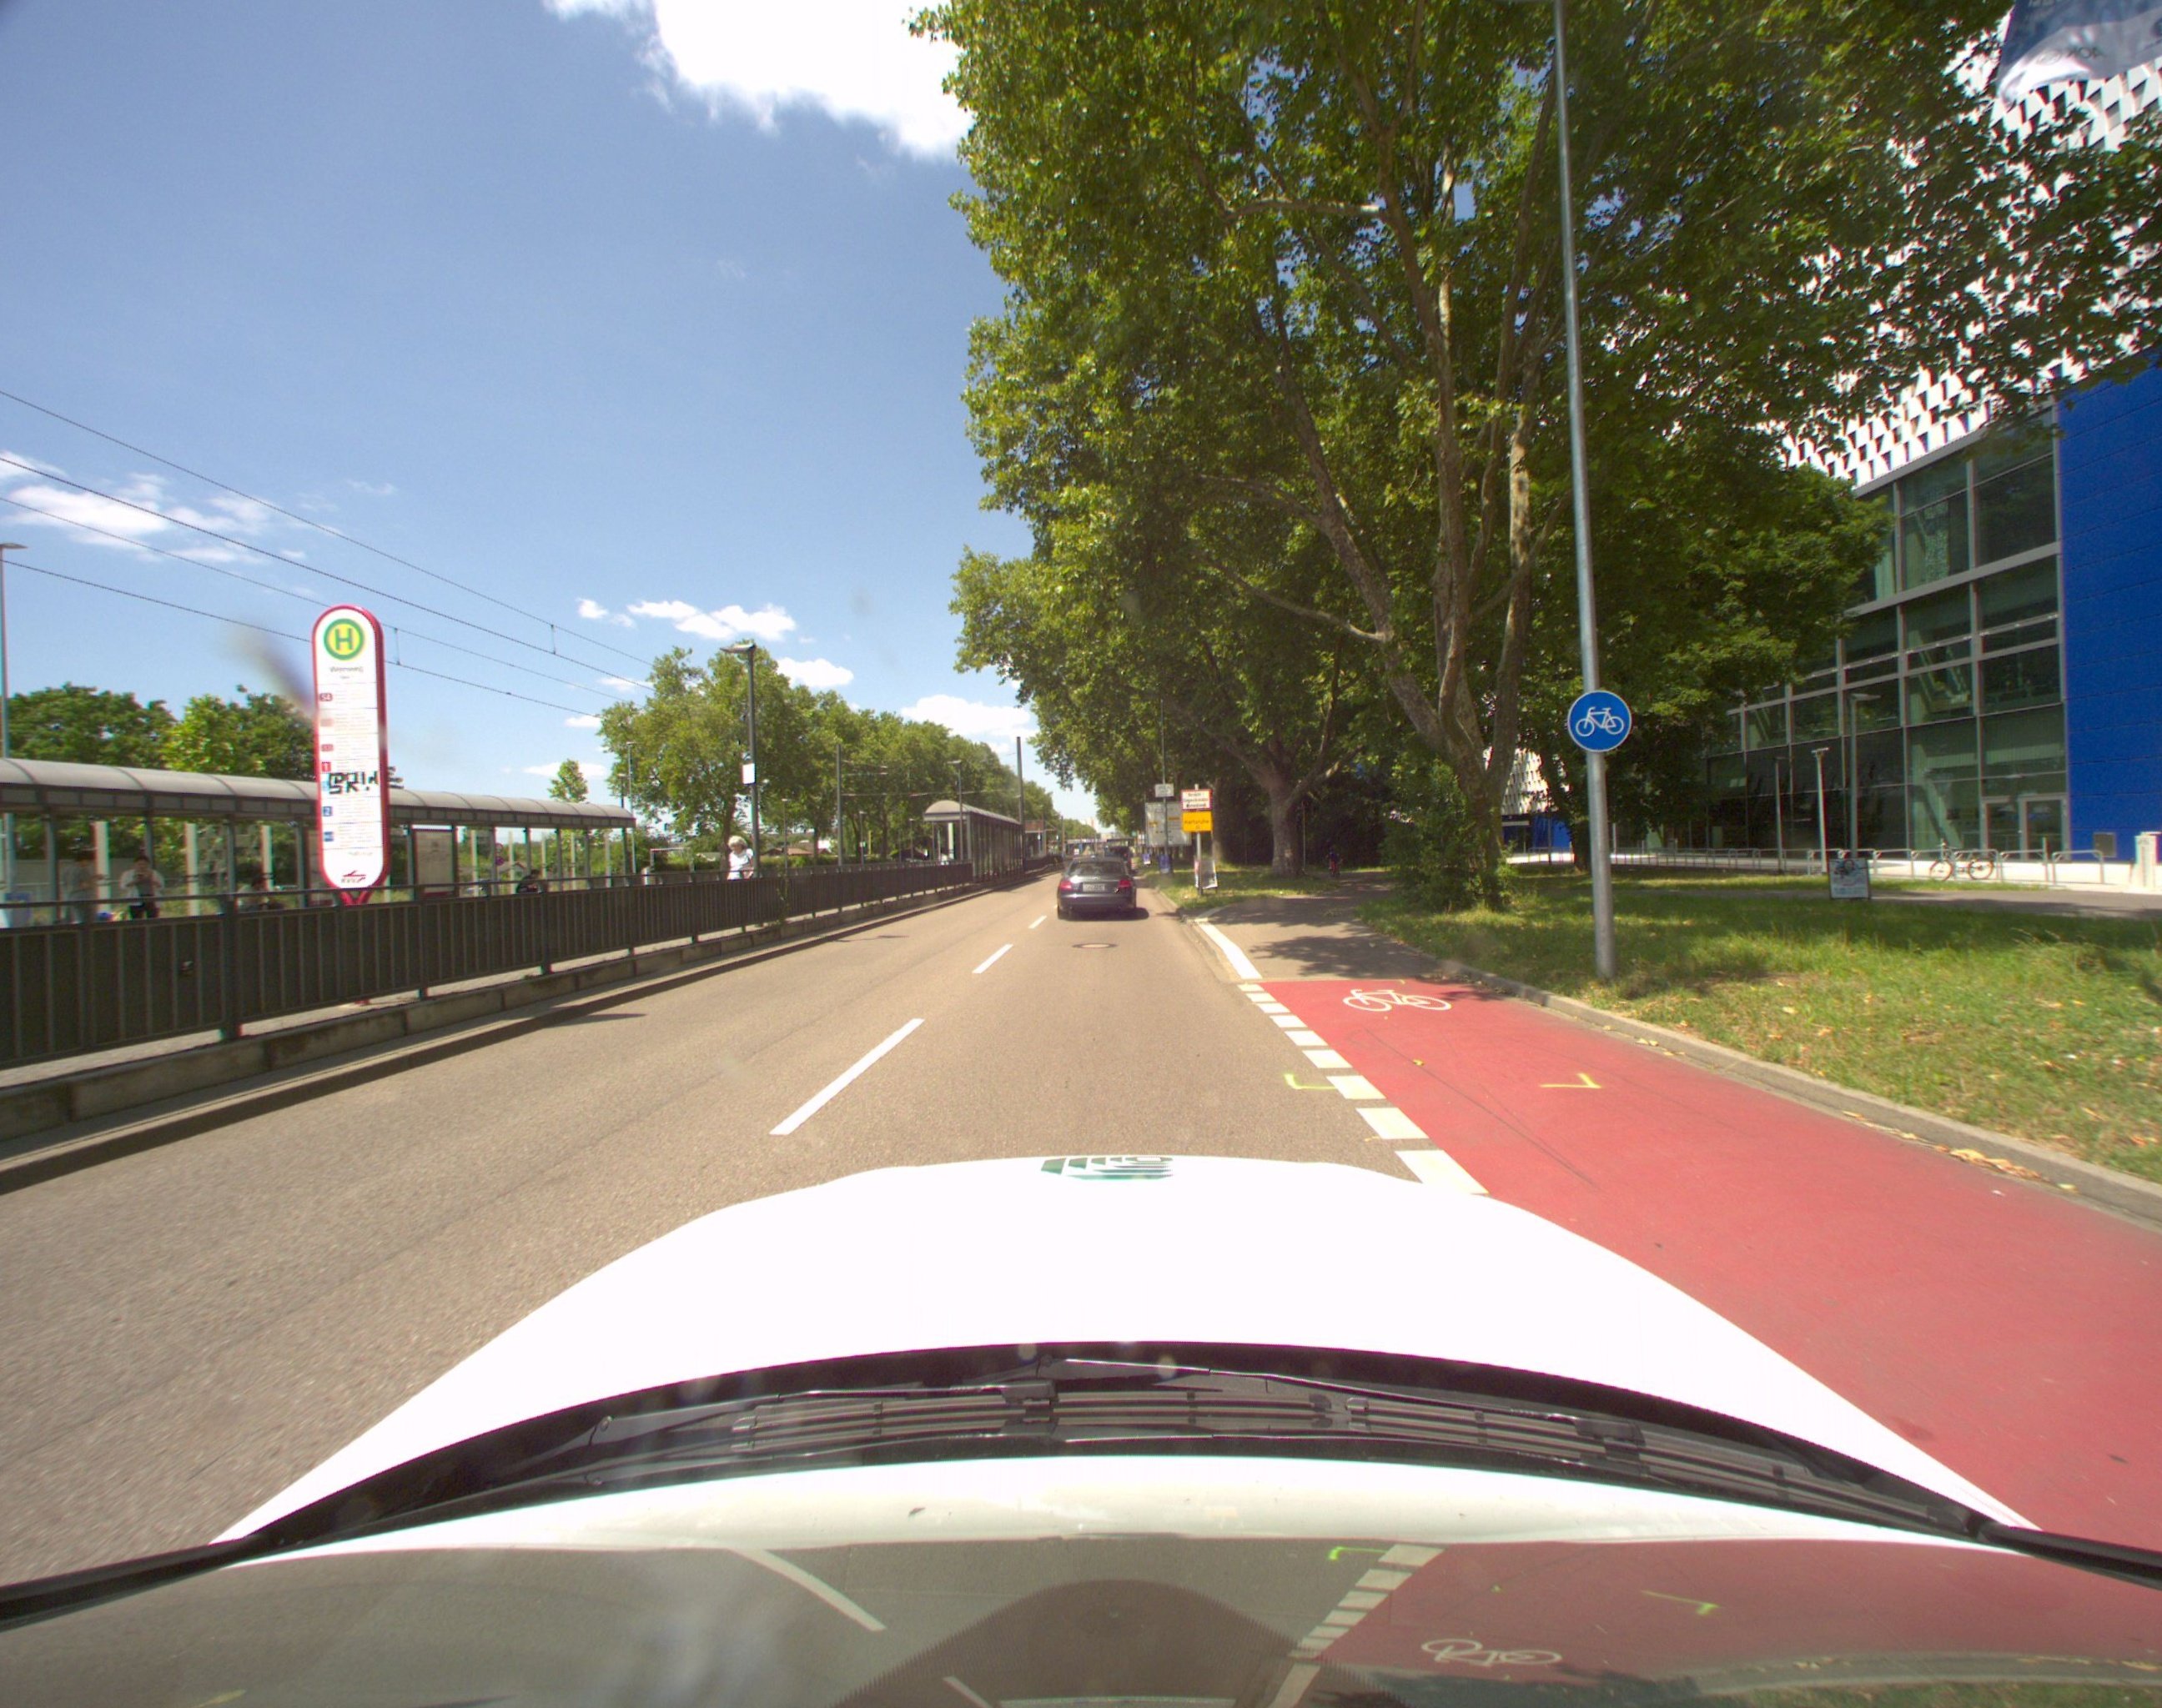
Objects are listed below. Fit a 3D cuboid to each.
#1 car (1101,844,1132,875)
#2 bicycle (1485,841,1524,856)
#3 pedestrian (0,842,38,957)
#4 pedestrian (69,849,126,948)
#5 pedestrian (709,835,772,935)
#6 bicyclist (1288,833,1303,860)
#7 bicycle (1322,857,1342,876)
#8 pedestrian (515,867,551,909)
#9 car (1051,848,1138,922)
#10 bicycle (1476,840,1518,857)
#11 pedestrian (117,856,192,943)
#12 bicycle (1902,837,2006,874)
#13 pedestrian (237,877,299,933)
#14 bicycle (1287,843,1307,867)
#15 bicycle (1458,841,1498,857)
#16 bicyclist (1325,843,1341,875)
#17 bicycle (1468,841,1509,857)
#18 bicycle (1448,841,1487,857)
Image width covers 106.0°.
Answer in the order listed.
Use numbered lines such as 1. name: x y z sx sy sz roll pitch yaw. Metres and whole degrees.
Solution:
1. car: 2.398 0.343 53.848 1.840 1.959 4.150 -1 0 5
2. bicycle: 29.034 -0.363 55.869 2.309 0.960 0.758 -1 0 -2
3. pedestrian: -16.644 0.697 12.581 0.729 1.729 0.582 -2 0 40
4. pedestrian: -16.949 0.753 14.041 0.817 1.638 0.582 -2 0 40
5. pedestrian: -5.866 0.521 14.060 0.729 1.665 0.742 -1 0 2
6. bicyclist: 13.175 -0.459 50.121 0.655 1.599 1.054 -2 0 3
7. bicycle: 12.782 0.619 41.494 0.641 0.887 2.028 -2 0 9
8. pedestrian: -16.348 1.008 24.293 0.574 1.190 0.639 -2 0 4
9. car: 0.395 0.667 19.655 1.835 1.484 4.003 -2 1 3
10. bicycle: 29.042 -0.358 56.869 2.538 1.110 0.758 -1 0 -2
11. pedestrian: -16.832 0.809 14.808 0.574 1.533 0.639 -2 0 4
12. bicycle: 24.861 0.039 23.224 2.054 0.969 0.868 -1 0 -1
13. pedestrian: -16.644 1.036 16.684 0.574 1.094 0.639 -2 0 4
14. bicycle: 13.213 0.066 49.926 0.608 1.420 2.663 -2 0 3
15. bicycle: 28.819 -0.347 59.065 2.538 1.110 0.758 -1 0 -2
16. bicyclist: 12.839 0.230 41.457 0.619 1.610 0.818 -2 0 8
17. bicycle: 29.030 -0.353 57.979 2.538 1.110 0.758 -1 0 -2
18. bicycle: 28.599 -0.340 60.339 2.538 1.110 0.758 -1 0 -2
